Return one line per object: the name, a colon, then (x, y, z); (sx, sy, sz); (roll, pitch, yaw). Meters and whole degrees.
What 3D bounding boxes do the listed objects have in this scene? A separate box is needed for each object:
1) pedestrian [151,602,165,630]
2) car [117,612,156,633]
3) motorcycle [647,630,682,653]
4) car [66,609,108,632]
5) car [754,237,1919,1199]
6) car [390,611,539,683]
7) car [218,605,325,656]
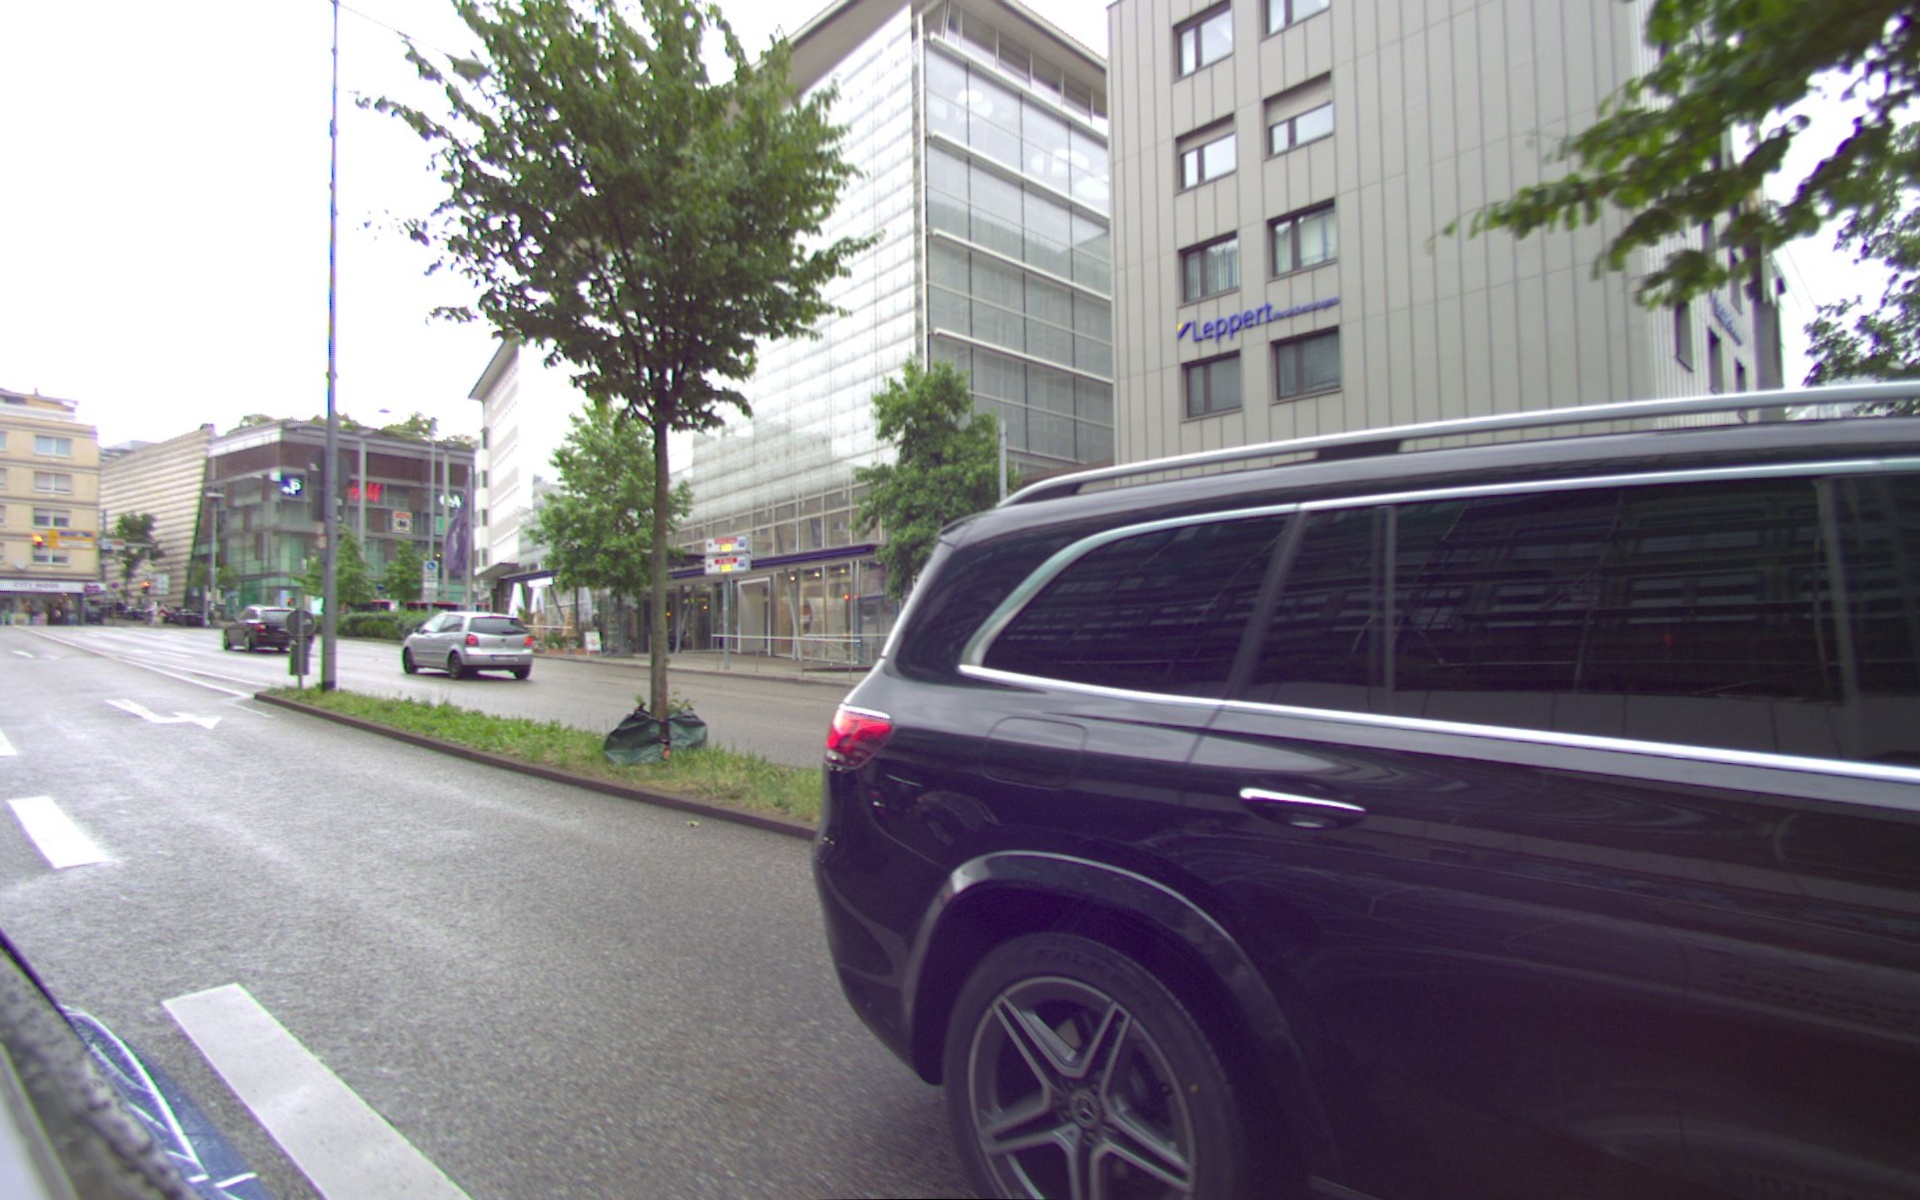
pedestrian: (-54.788, 1.077, 69.135); (0.588, 1.855, 0.598); (0, 0, 40)
car: (-83.738, 2.292, 102.858); (3.989, 2.029, 1.978); (0, 0, 33)
motorcycle: (-13.968, 1.965, 47.868); (1.549, 1.080, 0.418); (4, -3, -41)
car: (-82.052, 1.902, 95.076); (3.989, 2.029, 1.978); (0, 0, 33)
car: (1.944, 0.439, 1.911); (4.881, 1.791, 1.973); (0, 0, 40)
car: (-11.170, 1.024, 22.725); (3.644, 1.448, 1.609); (0, -2, 39)
car: (-22.360, 0.957, 32.804); (4.185, 1.520, 1.972); (0, -2, 43)
